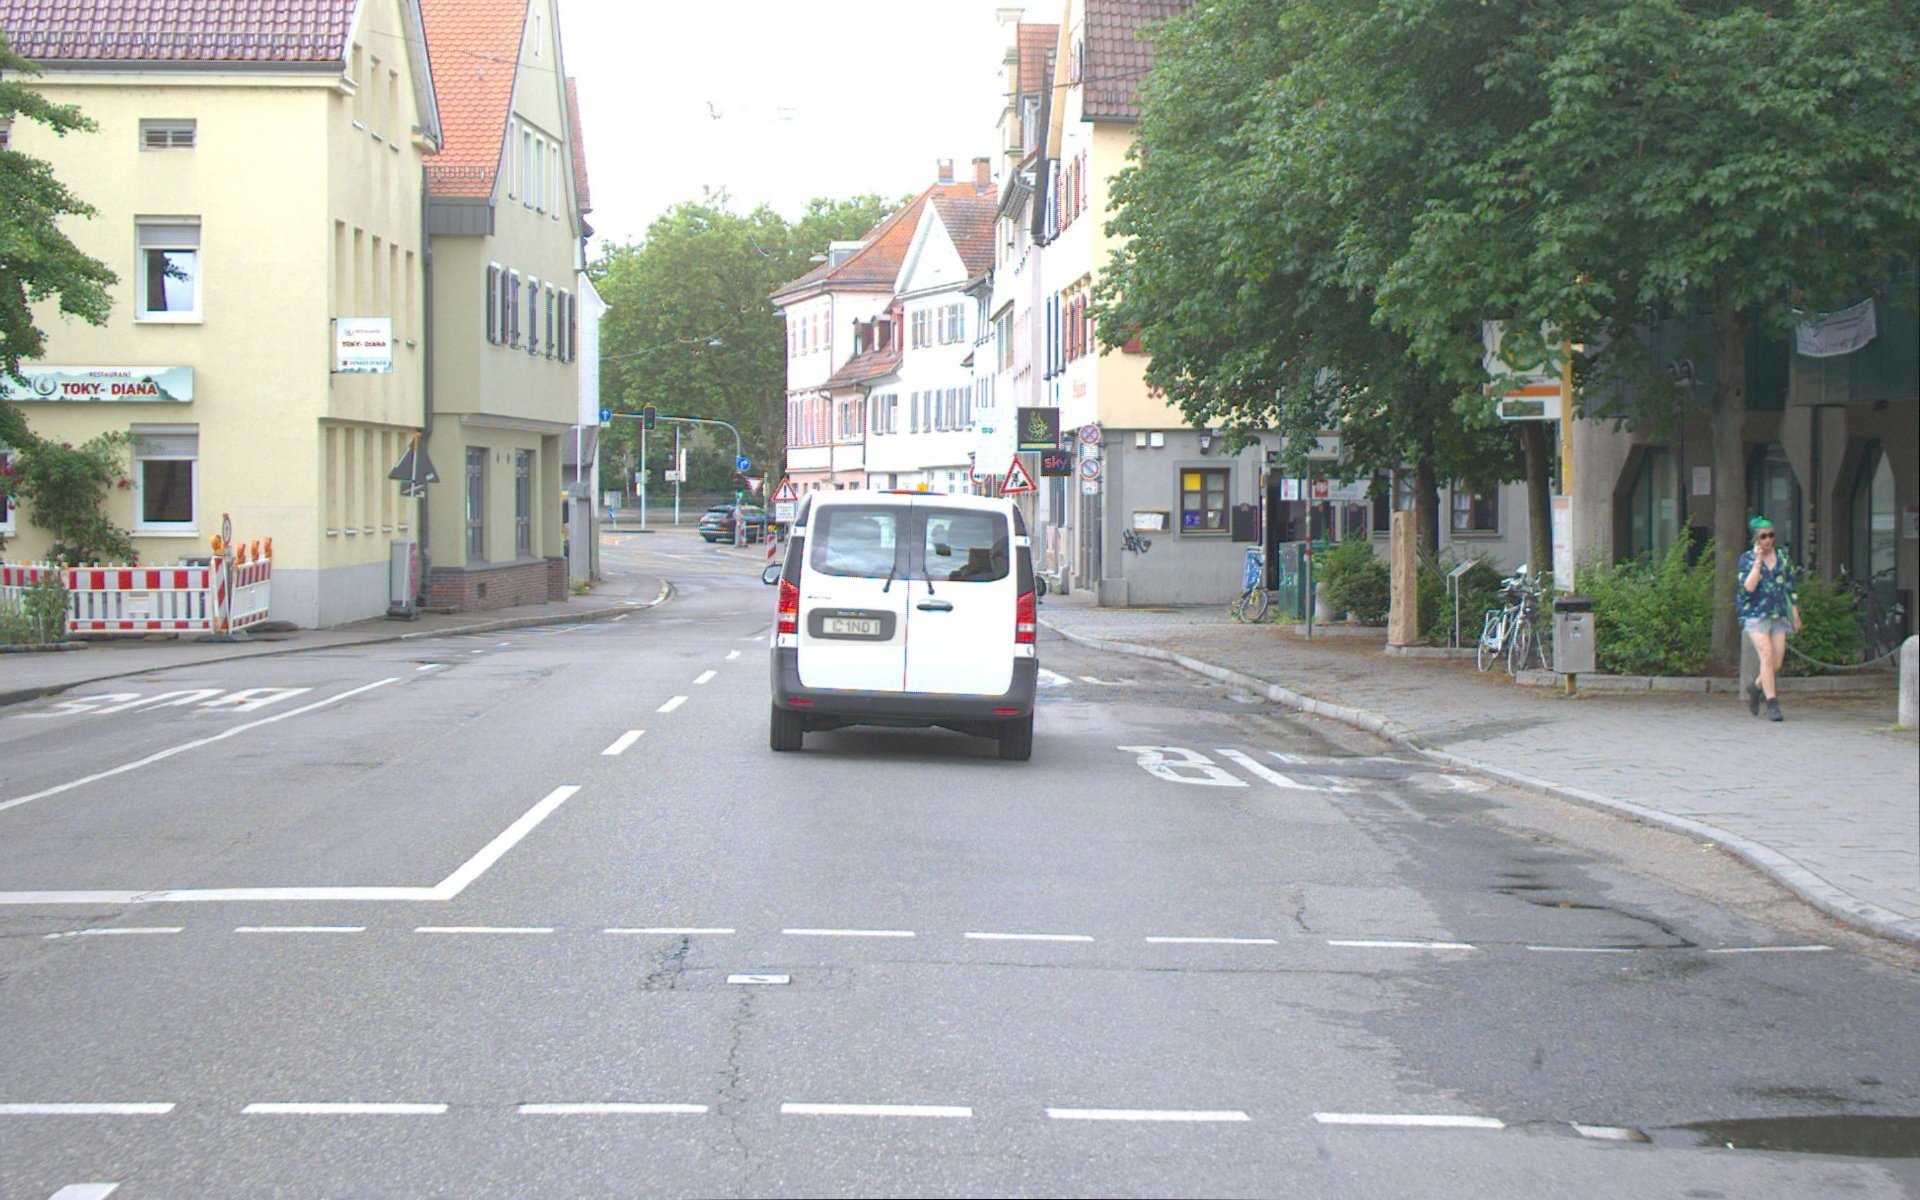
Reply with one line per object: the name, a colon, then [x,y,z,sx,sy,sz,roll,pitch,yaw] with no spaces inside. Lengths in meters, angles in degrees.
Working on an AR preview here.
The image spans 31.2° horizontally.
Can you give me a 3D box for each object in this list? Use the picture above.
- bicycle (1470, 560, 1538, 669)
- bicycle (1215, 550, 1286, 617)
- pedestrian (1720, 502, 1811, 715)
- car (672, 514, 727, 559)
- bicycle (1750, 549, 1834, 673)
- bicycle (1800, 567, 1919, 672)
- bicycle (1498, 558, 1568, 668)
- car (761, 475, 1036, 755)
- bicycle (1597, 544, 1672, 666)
bicycle: [5.861,0.142,37.092,0.333,1.137,1.959,1,1,-2]
bicycle: [4.855,-0.282,57.537,0.499,1.102,1.639,-1,1,-21]
pedestrian: [6.568,0.056,28.058,0.602,1.710,0.859,0,1,6]
car: [-12.064,-2.924,158.897,1.934,2.007,4.001,1,1,-12]
bicycle: [8.929,0.100,36.945,0.333,1.296,1.959,1,1,-2]
bicycle: [9.675,0.195,36.881,0.544,1.066,2.292,-1,1,-6]
bicycle: [6.196,0.125,37.205,0.333,1.138,1.959,1,1,-2]
car: [-0.425,0.084,25.473,1.872,1.905,4.000,0,1,0]
bicycle: [7.331,0.038,37.440,0.333,1.296,1.959,1,1,-2]
